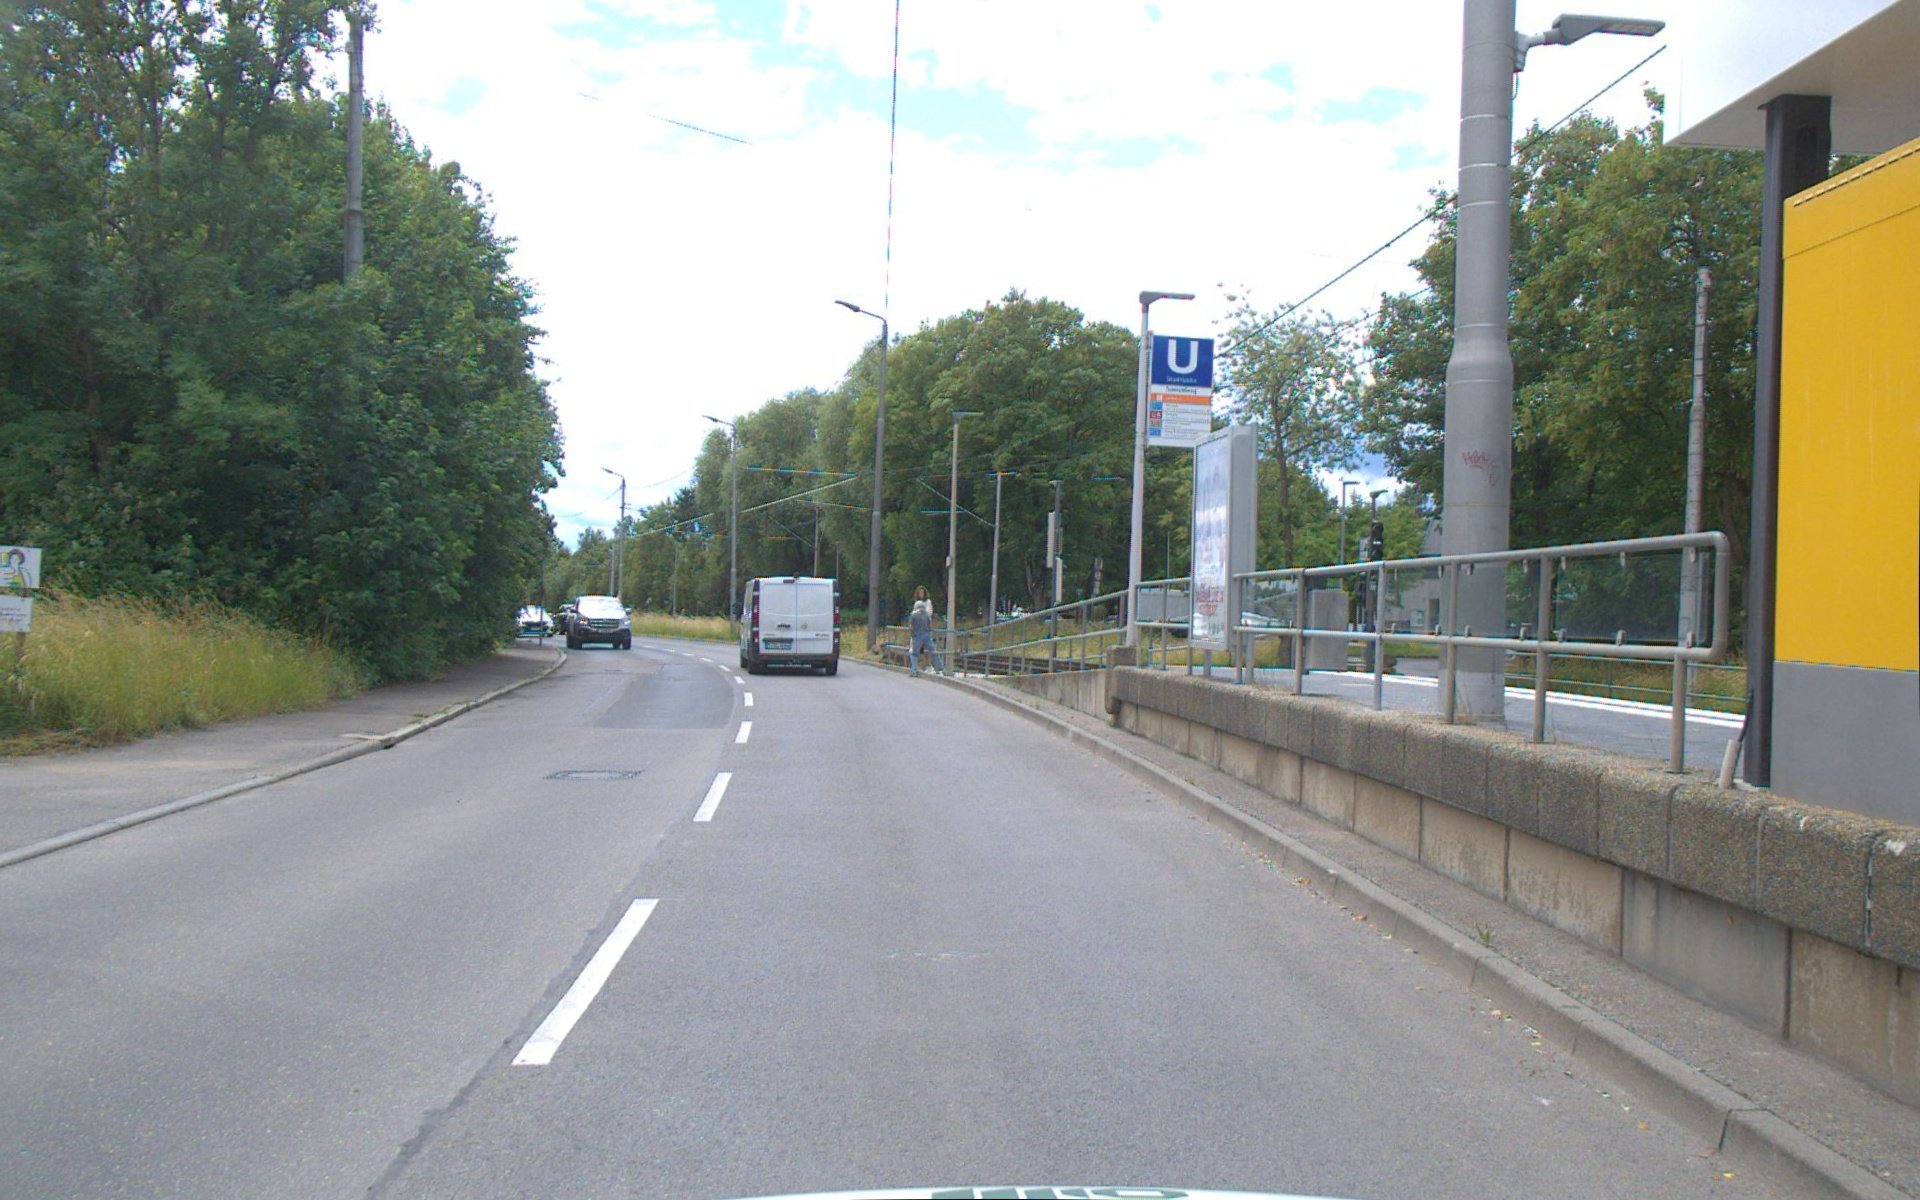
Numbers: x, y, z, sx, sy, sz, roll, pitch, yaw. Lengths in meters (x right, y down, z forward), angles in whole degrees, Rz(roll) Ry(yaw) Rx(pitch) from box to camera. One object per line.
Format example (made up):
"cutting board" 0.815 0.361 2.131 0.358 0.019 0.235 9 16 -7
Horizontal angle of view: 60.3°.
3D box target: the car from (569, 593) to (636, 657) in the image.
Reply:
"car" -12.244 0.828 56.478 1.961 2.049 4.305 1 0 -15

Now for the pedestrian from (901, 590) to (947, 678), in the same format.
"pedestrian" -0.768 0.719 35.018 0.749 1.826 0.625 1 -1 -27

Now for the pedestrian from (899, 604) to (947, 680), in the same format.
"pedestrian" -0.750 0.858 33.599 0.749 1.518 0.625 1 -1 -27

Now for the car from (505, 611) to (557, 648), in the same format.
"car" -21.410 1.456 82.435 1.966 1.761 4.295 1 0 -22

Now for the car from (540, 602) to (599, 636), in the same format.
"car" -21.234 1.025 89.841 2.325 1.591 4.339 3 -1 -24

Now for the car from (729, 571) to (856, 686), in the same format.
"car" -3.670 0.577 35.338 2.079 2.171 5.424 3 -1 -12
